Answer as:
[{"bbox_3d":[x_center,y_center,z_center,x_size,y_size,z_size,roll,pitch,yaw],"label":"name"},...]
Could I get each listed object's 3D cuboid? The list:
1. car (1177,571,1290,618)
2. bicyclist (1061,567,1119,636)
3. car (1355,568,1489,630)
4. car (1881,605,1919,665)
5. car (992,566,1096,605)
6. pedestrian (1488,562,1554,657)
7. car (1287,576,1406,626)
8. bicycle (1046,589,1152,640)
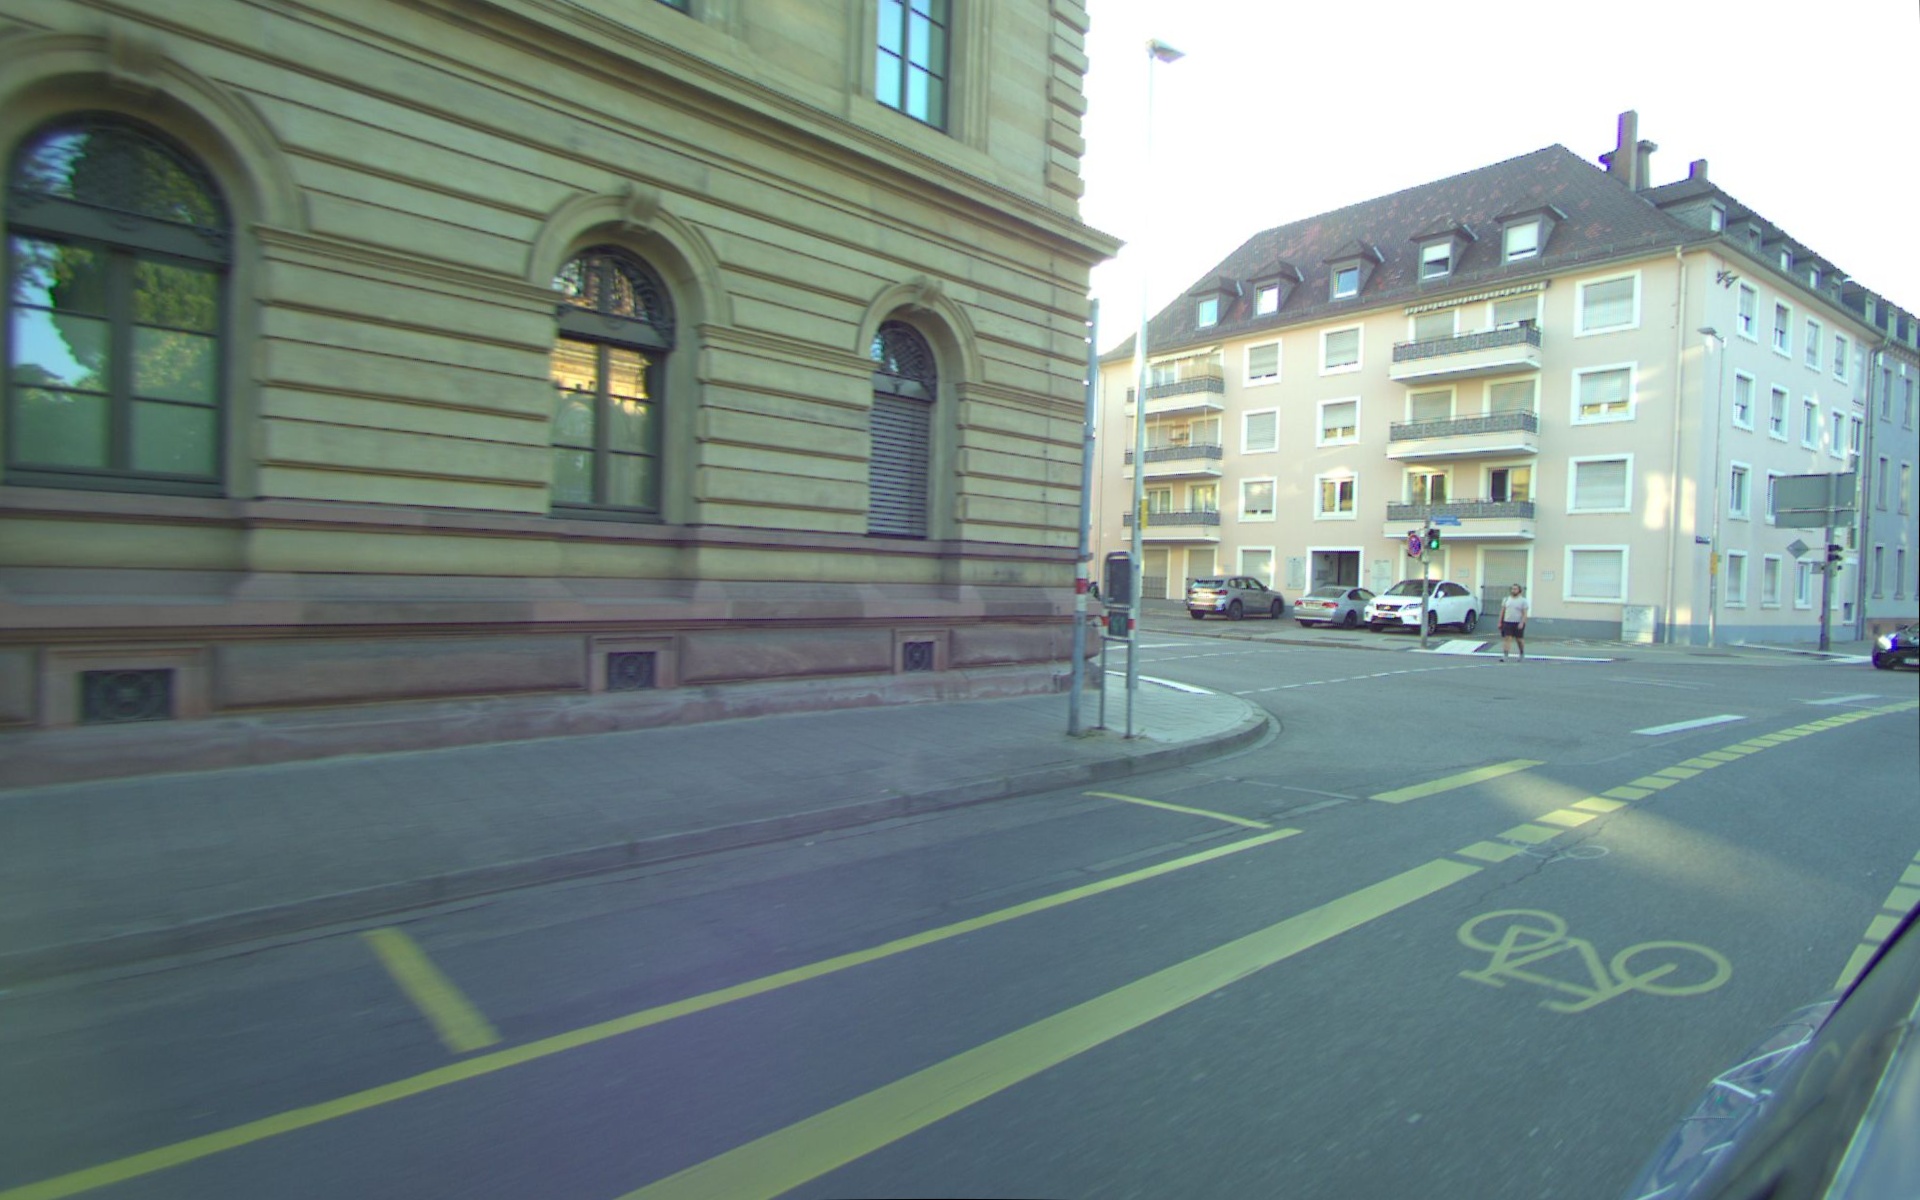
[{"bbox_3d":[10.049,-0.258,37.079,3.983,1.565,2.011,-2,3,-38],"label":"car"},{"bbox_3d":[3.230,0.034,25.140,0.952,1.653,1.044,1,1,-41],"label":"bicyclist"},{"bbox_3d":[14.497,-0.042,31.658,4.394,1.771,1.999,0,2,-39],"label":"car"},{"bbox_3d":[23.088,0.784,23.183,4.276,1.317,2.184,1,0,-37],"label":"car"},{"bbox_3d":[3.742,-0.678,44.729,4.440,1.616,2.011,-2,3,-38],"label":"car"},{"bbox_3d":[12.408,0.204,22.400,0.973,2.039,0.789,1,1,-20],"label":"pedestrian"},{"bbox_3d":[12.894,0.018,33.710,3.955,1.532,1.924,0,2,-39],"label":"car"},{"bbox_3d":[3.392,0.337,24.958,0.960,1.118,2.581,1,2,-41],"label":"bicycle"}]
